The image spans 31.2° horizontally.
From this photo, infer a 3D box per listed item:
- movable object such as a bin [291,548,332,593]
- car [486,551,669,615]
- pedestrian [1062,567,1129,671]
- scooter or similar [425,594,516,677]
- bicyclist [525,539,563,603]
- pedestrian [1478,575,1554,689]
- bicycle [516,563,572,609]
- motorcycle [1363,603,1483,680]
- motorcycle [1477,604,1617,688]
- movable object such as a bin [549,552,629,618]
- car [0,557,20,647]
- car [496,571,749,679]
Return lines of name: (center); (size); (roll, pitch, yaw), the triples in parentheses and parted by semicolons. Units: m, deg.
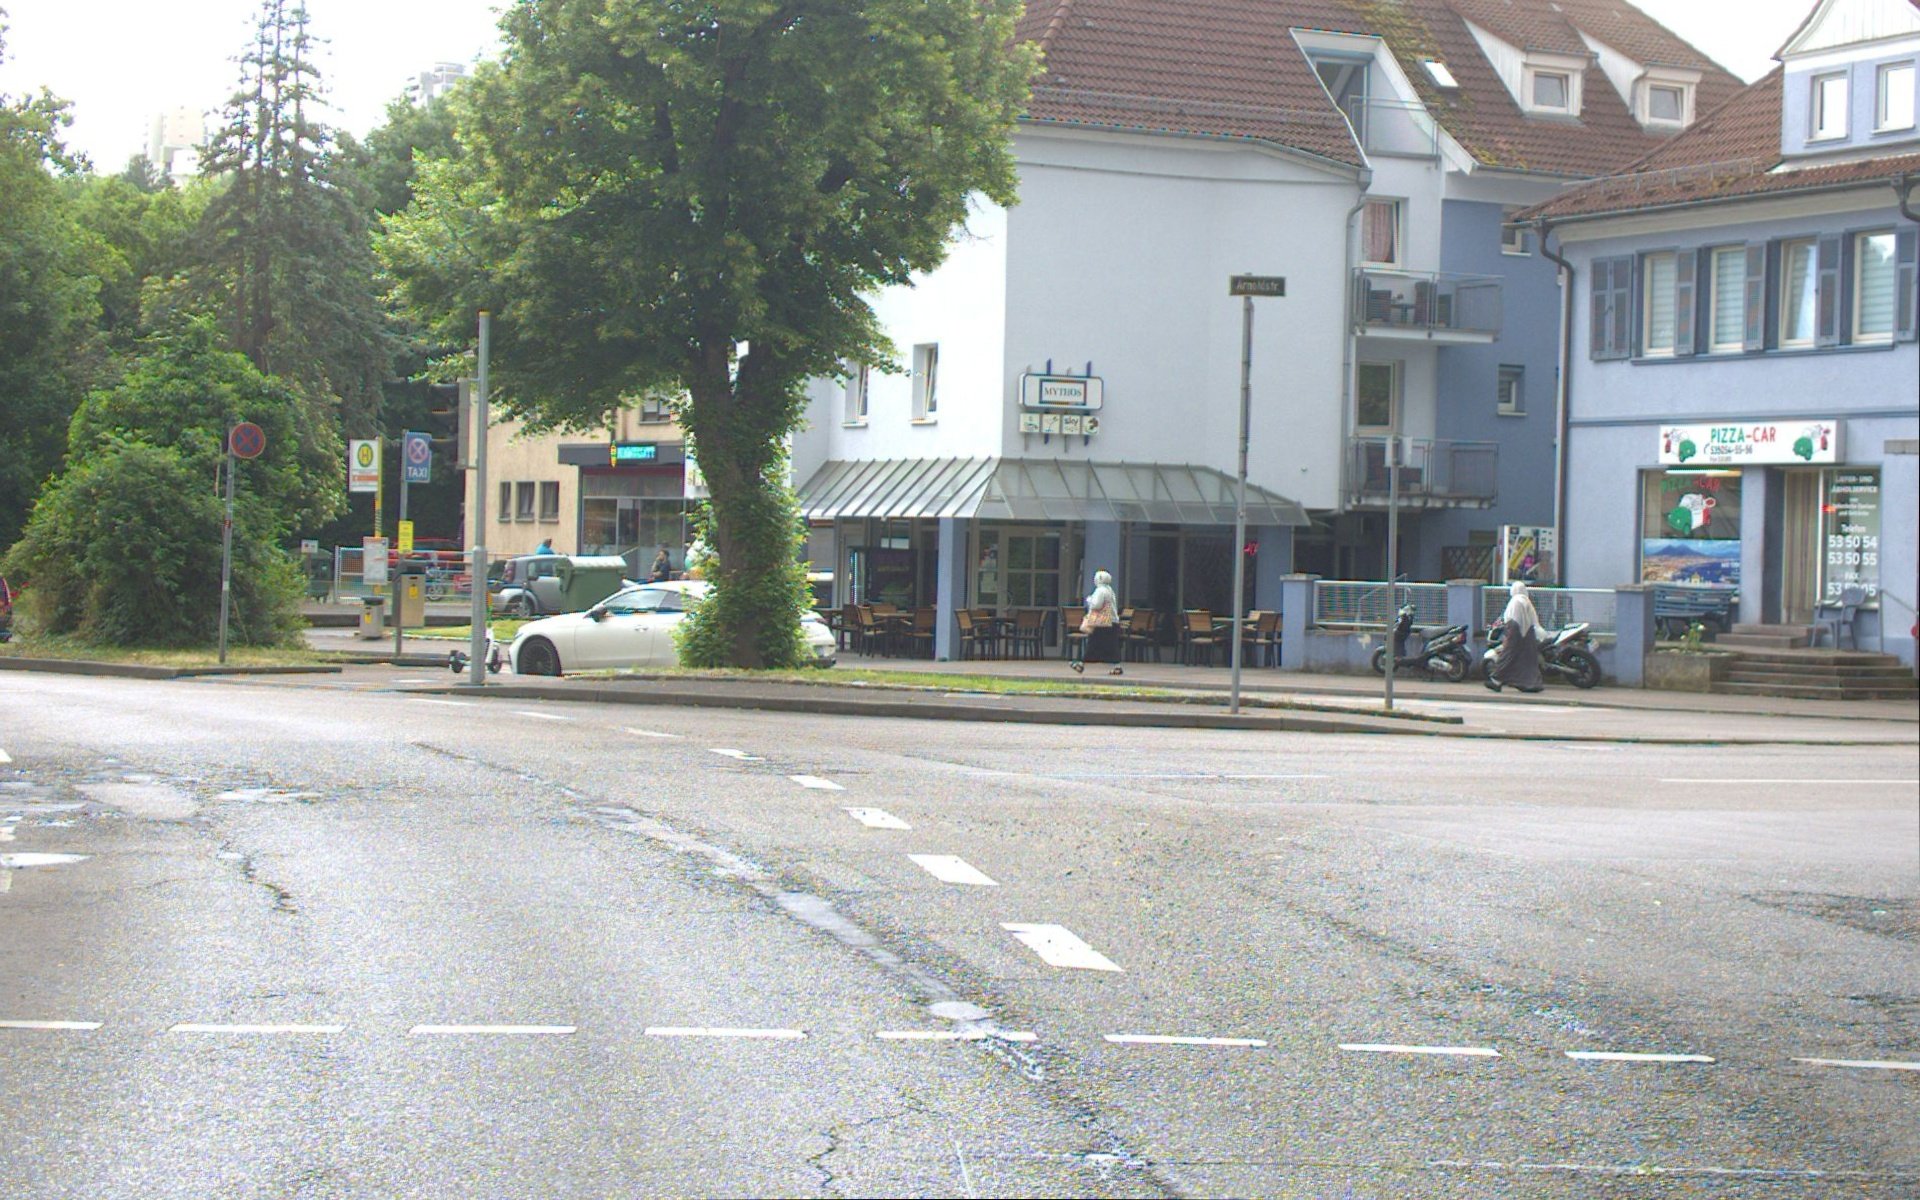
movable object such as a bin: (-16.250, -0.729, 86.163); (0.950, 1.111, 0.383); (1, 1, -21)
car: (-8.429, -0.364, 75.868); (3.733, 1.340, 1.434); (1, 1, -26)
pedestrian: (2.032, 0.277, 51.596); (0.707, 1.539, 0.677); (2, 1, 40)
scooter or similar: (-6.061, 0.432, 42.646); (0.417, 1.008, 1.565); (1, 1, 20)
bicyclist: (-10.163, -0.703, 83.966); (0.599, 1.536, 0.739); (1, 1, 24)
pedestrian: (7.657, 0.436, 47.317); (0.768, 1.539, 0.677); (1, 1, 39)
bicycle: (-10.158, -0.336, 84.023); (0.602, 1.108, 1.578); (1, 1, 24)
motorcycle: (6.749, 0.596, 50.155); (1.636, 1.060, 0.693); (2, 1, 44)
motorcycle: (8.255, 0.634, 48.377); (1.798, 1.118, 0.693); (2, 1, 38)
movable object such as a bin: (-7.986, -0.322, 73.970); (1.440, 1.404, 0.967); (1, 1, -27)
car: (-16.516, -0.012, 53.717); (3.590, 1.389, 1.469); (2, 1, 32)
car: (-4.533, 0.317, 46.039); (3.171, 1.350, 1.436); (2, 1, 35)
